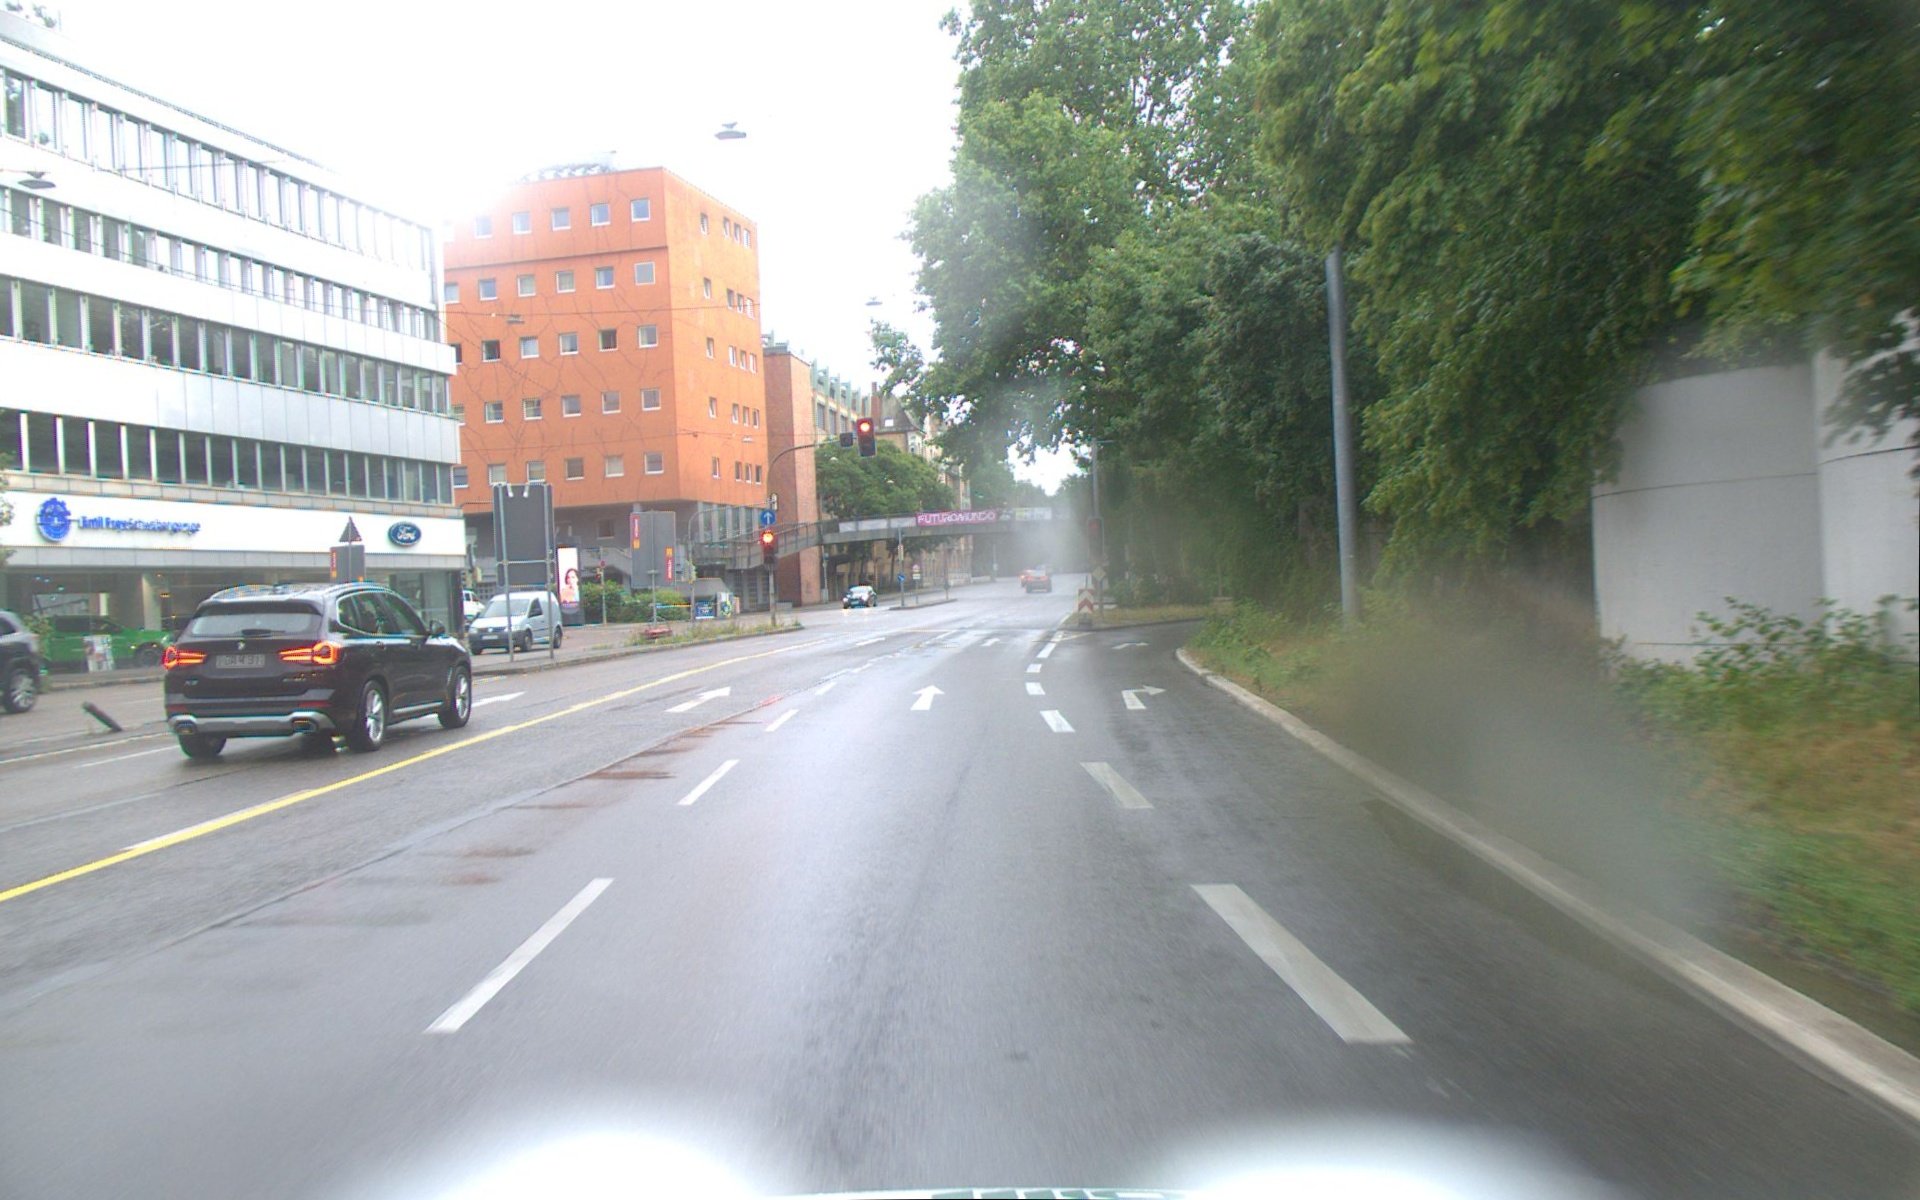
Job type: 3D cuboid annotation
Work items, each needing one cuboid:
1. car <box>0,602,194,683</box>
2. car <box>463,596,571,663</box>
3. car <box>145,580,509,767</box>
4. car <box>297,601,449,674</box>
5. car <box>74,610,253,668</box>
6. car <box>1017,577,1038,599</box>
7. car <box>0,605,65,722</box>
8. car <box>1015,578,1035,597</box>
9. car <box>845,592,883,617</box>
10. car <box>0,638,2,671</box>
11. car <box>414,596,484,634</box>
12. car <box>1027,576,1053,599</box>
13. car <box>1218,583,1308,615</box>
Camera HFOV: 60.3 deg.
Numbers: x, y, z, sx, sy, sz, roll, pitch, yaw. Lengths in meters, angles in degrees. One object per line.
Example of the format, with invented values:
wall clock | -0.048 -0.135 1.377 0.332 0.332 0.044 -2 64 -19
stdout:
car | -26.597 1.290 51.042 5.137 2.046 1.979 -4 0 -31
car | -13.516 0.859 50.720 1.697 1.817 4.304 -4 0 5
car | -6.478 0.653 17.588 1.907 1.625 4.672 -1 1 2
car | -14.402 0.882 40.872 1.791 1.528 4.376 -4 0 5
car | -27.336 1.322 56.949 5.096 1.547 1.995 -4 0 -10
car | 6.729 -1.185 164.739 1.953 2.048 4.001 -4 0 2
car | -15.509 1.020 24.490 1.807 1.767 4.605 -3 0 2
car | 6.531 -1.242 165.043 1.726 1.726 3.707 -4 0 4
car | -6.303 0.270 109.050 1.951 1.545 4.002 -3 0 5
car | -28.812 1.160 44.518 4.941 1.930 1.972 -4 0 -39
car | -29.013 0.833 93.997 1.951 2.049 4.855 2 0 7
car | 6.517 -1.005 135.072 2.076 1.765 4.200 -1 1 2
car | 16.656 -0.057 91.017 4.512 1.476 1.773 -3 0 -3
